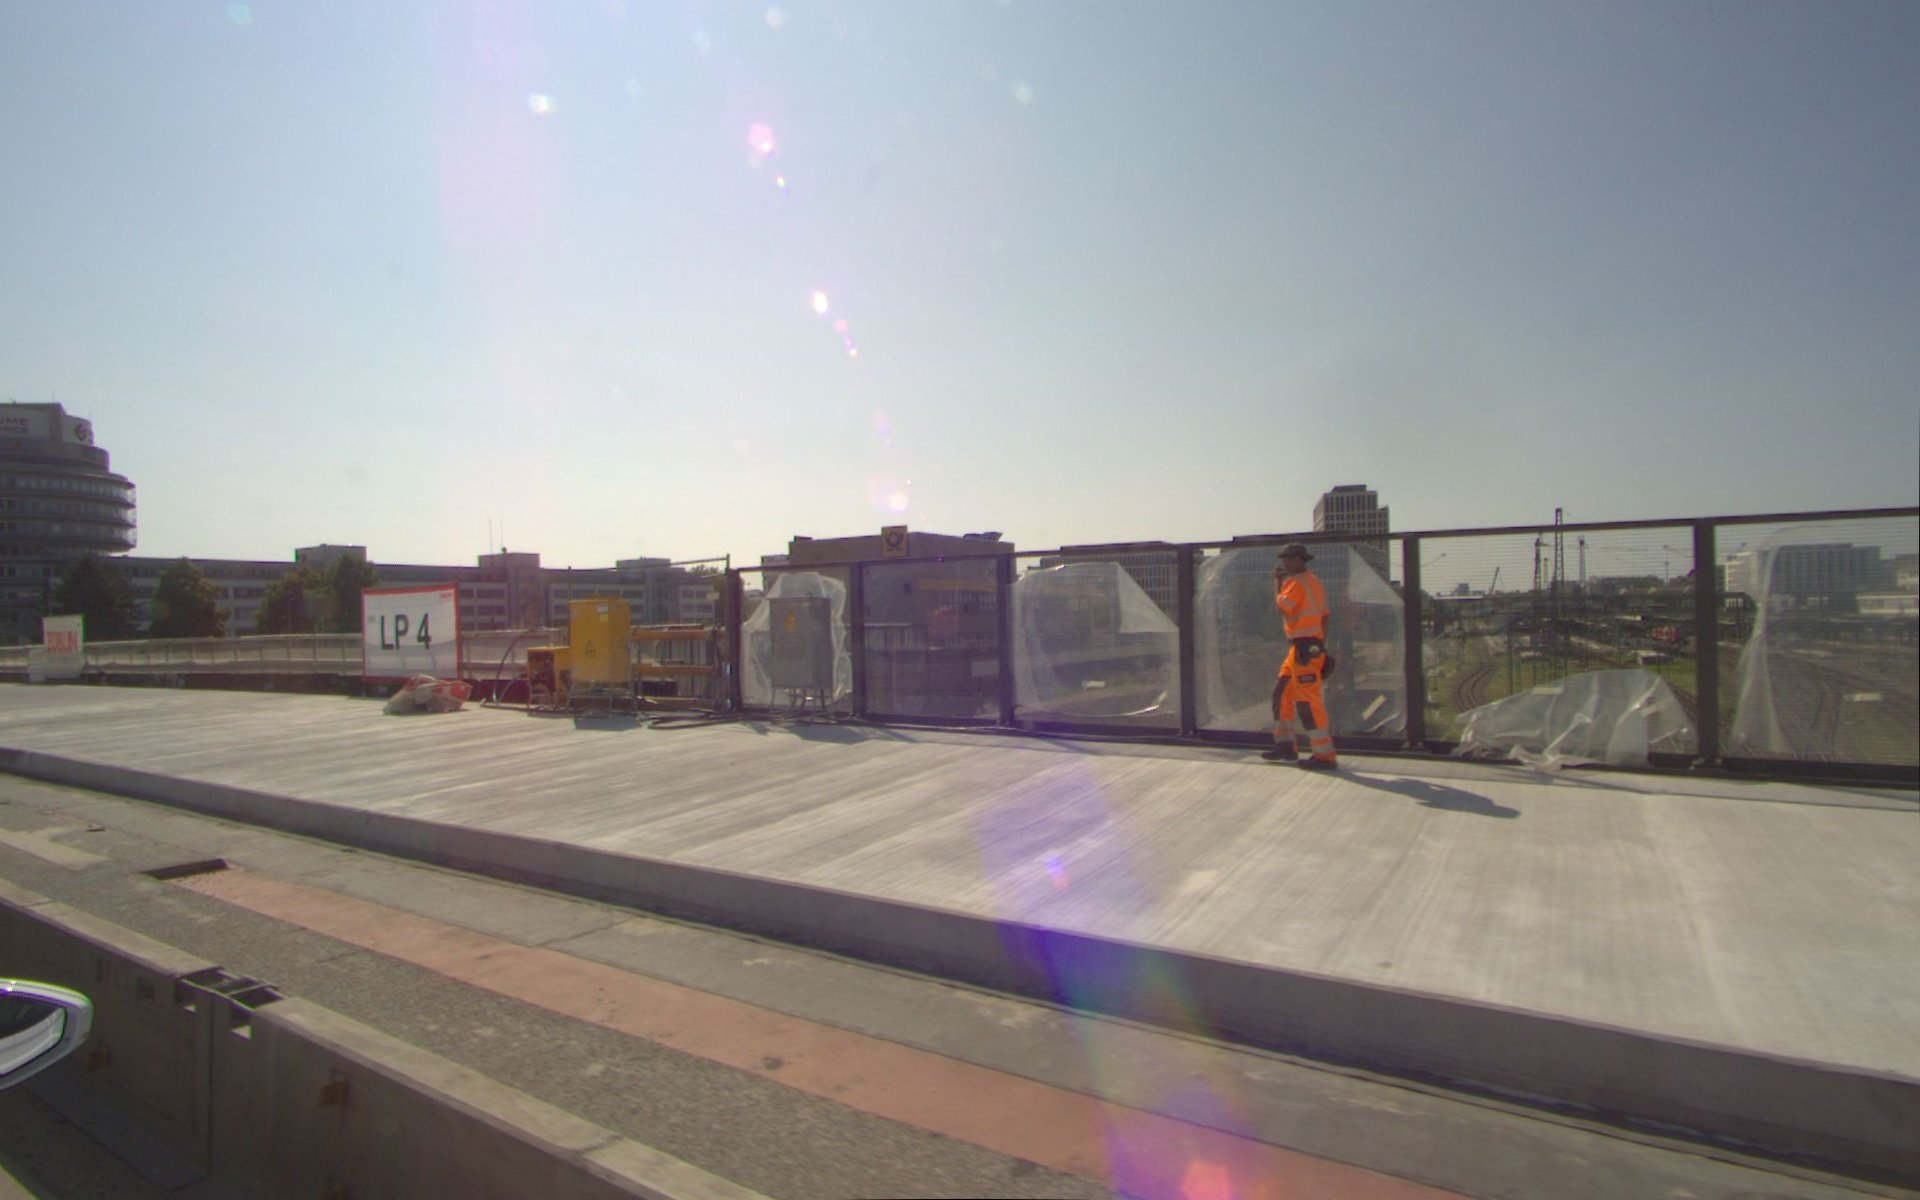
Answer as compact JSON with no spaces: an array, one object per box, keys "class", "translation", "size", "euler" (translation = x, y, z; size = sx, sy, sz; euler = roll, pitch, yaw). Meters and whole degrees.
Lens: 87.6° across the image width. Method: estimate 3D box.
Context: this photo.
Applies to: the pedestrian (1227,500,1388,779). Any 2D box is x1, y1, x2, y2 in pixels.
[{"class":"pedestrian","translation":[2.679,0.290,7.711],"size":[1.002,1.991,0.729],"euler":[-1,1,33]}]
